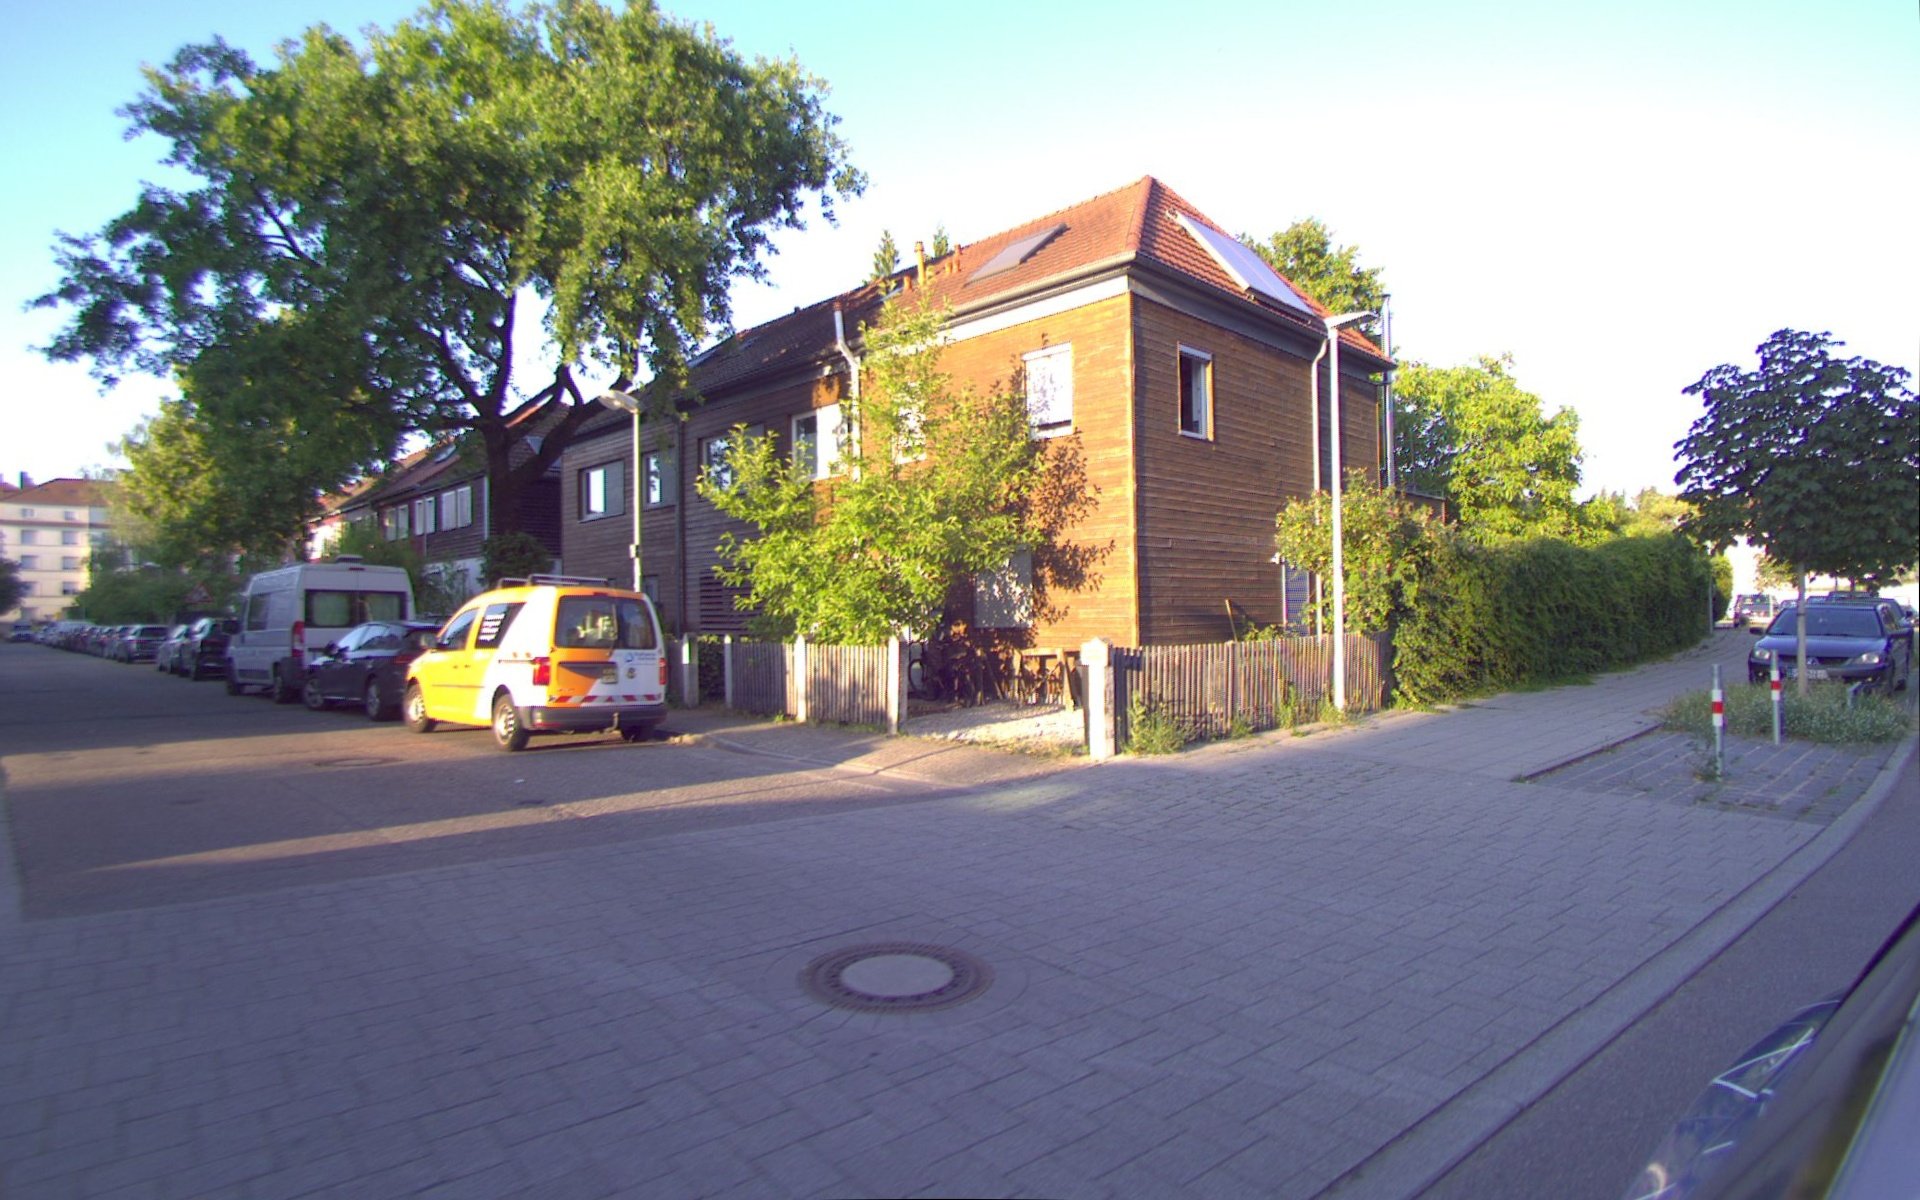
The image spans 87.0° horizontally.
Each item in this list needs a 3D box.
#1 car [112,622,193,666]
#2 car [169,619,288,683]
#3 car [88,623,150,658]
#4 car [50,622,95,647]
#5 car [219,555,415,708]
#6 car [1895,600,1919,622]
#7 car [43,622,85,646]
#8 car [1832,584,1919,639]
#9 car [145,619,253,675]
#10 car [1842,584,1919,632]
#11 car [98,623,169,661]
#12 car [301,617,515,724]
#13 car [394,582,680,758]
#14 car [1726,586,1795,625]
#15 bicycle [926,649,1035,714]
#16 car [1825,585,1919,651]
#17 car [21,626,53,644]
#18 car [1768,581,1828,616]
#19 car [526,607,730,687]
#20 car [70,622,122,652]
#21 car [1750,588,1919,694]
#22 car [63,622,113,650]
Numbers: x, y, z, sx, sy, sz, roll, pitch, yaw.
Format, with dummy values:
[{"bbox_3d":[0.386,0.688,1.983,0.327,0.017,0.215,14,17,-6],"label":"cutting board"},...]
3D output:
[{"bbox_3d":[-30.957,1.646,38.778,3.596,1.576,1.927,-1,-2,43],"label":"car"},{"bbox_3d":[-19.617,1.318,27.088,3.596,1.576,1.927,-1,-2,43],"label":"car"},{"bbox_3d":[-39.619,1.856,47.645,3.596,1.576,1.781,-1,-2,43],"label":"car"},{"bbox_3d":[-56.150,2.170,63.998,3.596,1.576,1.781,-1,-2,43],"label":"car"},{"bbox_3d":[-12.481,0.583,19.524,4.737,2.593,2.064,-1,-2,43],"label":"car"},{"bbox_3d":[60.883,0.684,64.520,1.792,1.365,3.966,-4,-3,43],"label":"car"},{"bbox_3d":[-59.529,2.235,67.206,3.596,1.576,1.781,-1,-2,43],"label":"car"},{"bbox_3d":[26.779,0.304,29.551,1.766,1.481,4.299,-1,0,44],"label":"car"},{"bbox_3d":[-23.270,1.378,30.908,4.248,1.576,1.927,-1,-2,43],"label":"car"},{"bbox_3d":[30.213,0.237,33.233,1.763,1.481,4.305,-1,0,40],"label":"car"},{"bbox_3d":[-36.001,1.798,44.069,3.596,1.576,1.927,-1,-2,43],"label":"car"},{"bbox_3d":[-8.719,1.020,15.883,3.596,1.474,1.927,-1,-2,43],"label":"car"},{"bbox_3d":[-5.225,0.754,12.268,3.939,1.789,1.754,-1,-2,43],"label":"car"},{"bbox_3d":[32.200,0.197,40.679,1.766,1.481,4.299,-1,0,44],"label":"car"},{"bbox_3d":[0.264,1.132,14.319,0.556,0.807,1.699,0,-1,-39],"label":"bicycle"},{"bbox_3d":[22.451,0.408,24.704,1.766,1.481,4.299,-1,0,44],"label":"car"},{"bbox_3d":[-81.182,3.045,88.967,3.596,1.576,1.781,-1,-2,43],"label":"car"},{"bbox_3d":[37.579,-0.054,45.364,1.766,1.481,4.299,-1,0,44],"label":"car"},{"bbox_3d":[-6.841,0.906,20.962,3.547,1.474,1.954,0,-1,-42],"label":"car"},{"bbox_3d":[-47.170,2.021,55.244,3.596,1.576,1.781,-1,-2,43],"label":"car"},{"bbox_3d":[14.112,0.564,16.183,4.294,1.481,1.678,0,0,-43],"label":"car"},{"bbox_3d":[-50.637,2.080,58.747,3.596,1.576,1.781,-1,-2,43],"label":"car"}]
